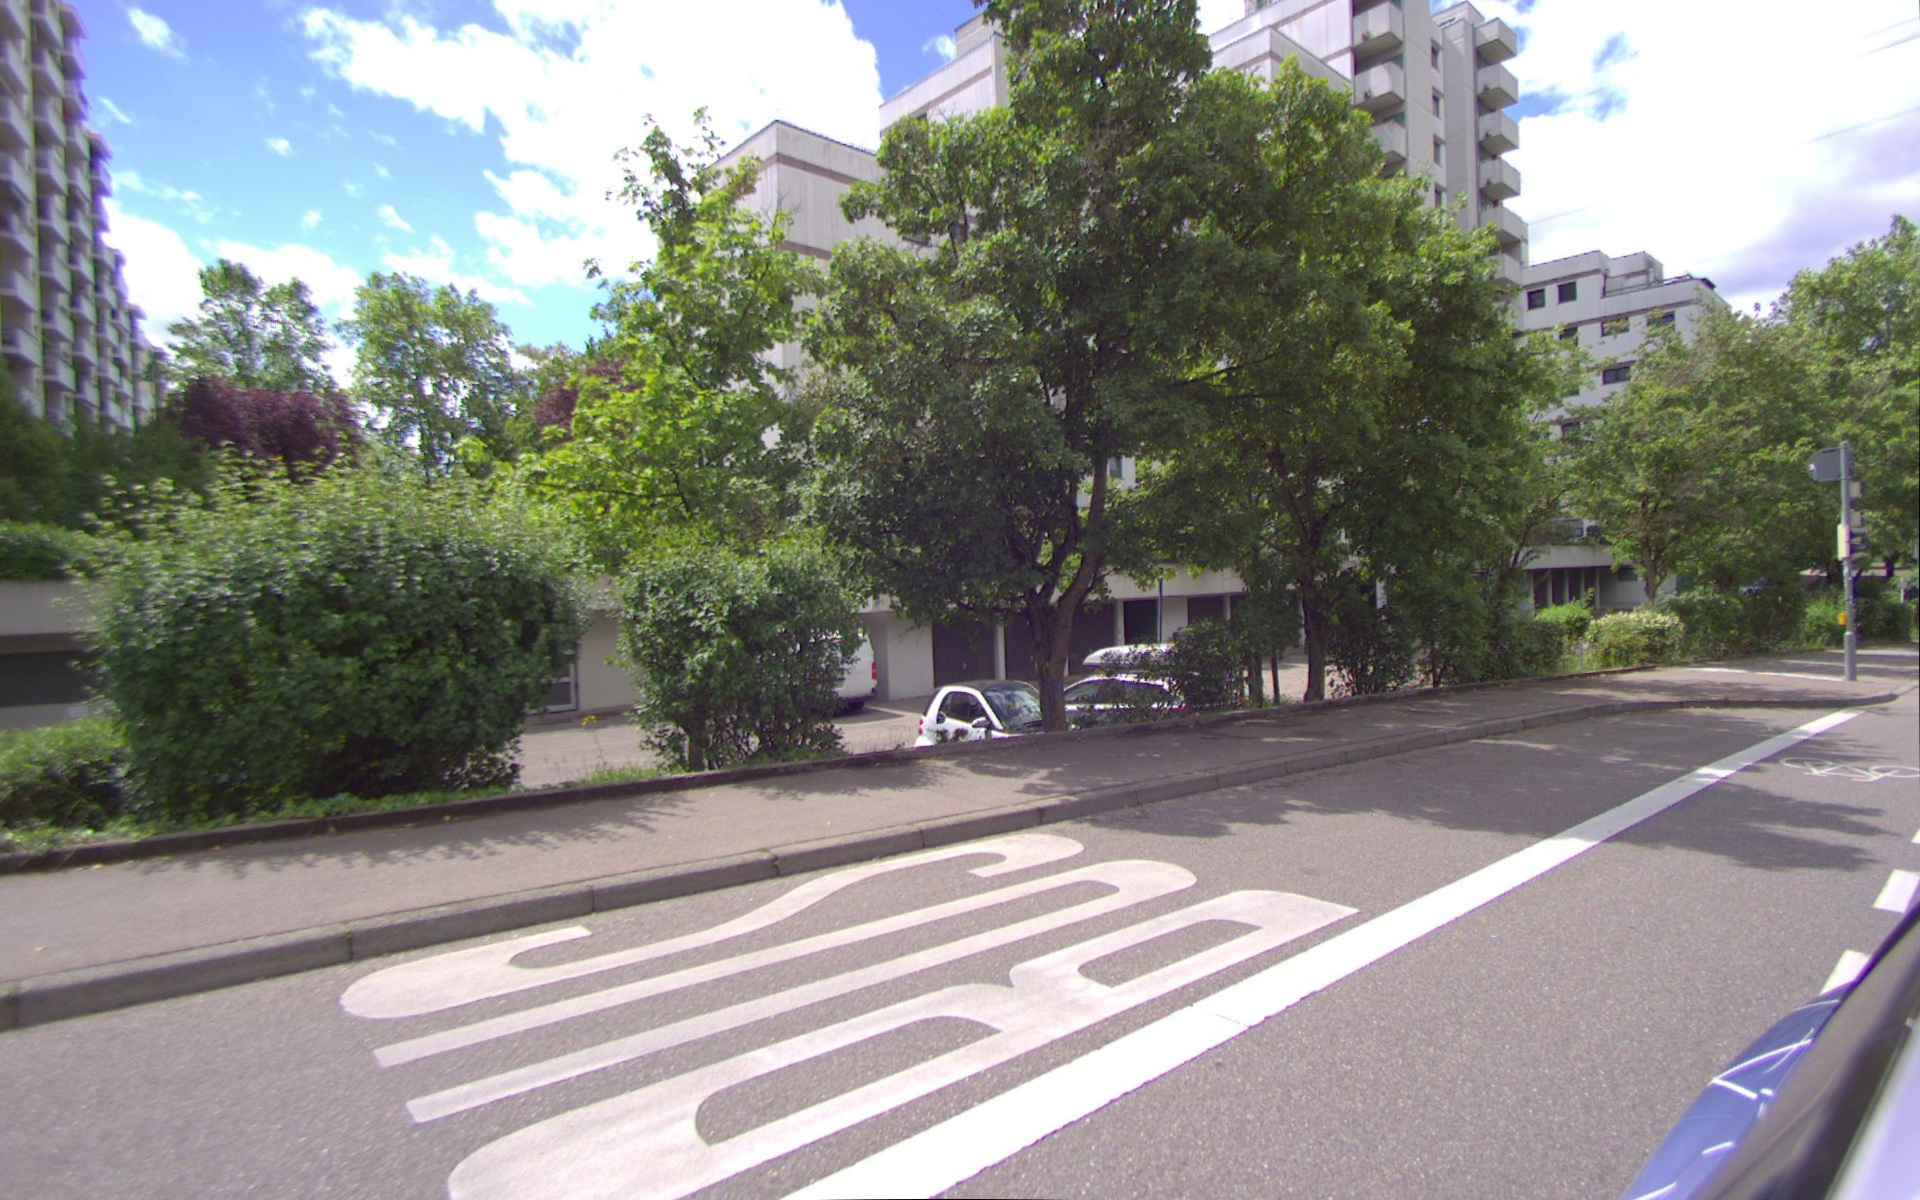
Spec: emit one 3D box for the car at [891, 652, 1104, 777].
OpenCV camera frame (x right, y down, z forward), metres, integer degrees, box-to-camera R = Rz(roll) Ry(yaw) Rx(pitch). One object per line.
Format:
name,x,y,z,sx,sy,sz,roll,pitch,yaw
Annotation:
car,0.506,1.634,15.317,1.693,1.488,2.962,-1,0,-39

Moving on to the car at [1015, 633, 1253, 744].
car,2.761,1.353,16.712,1.537,1.450,3.760,-2,1,-39

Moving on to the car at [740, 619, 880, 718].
car,-3.736,1.574,24.702,1.758,1.915,4.001,-3,3,-35
